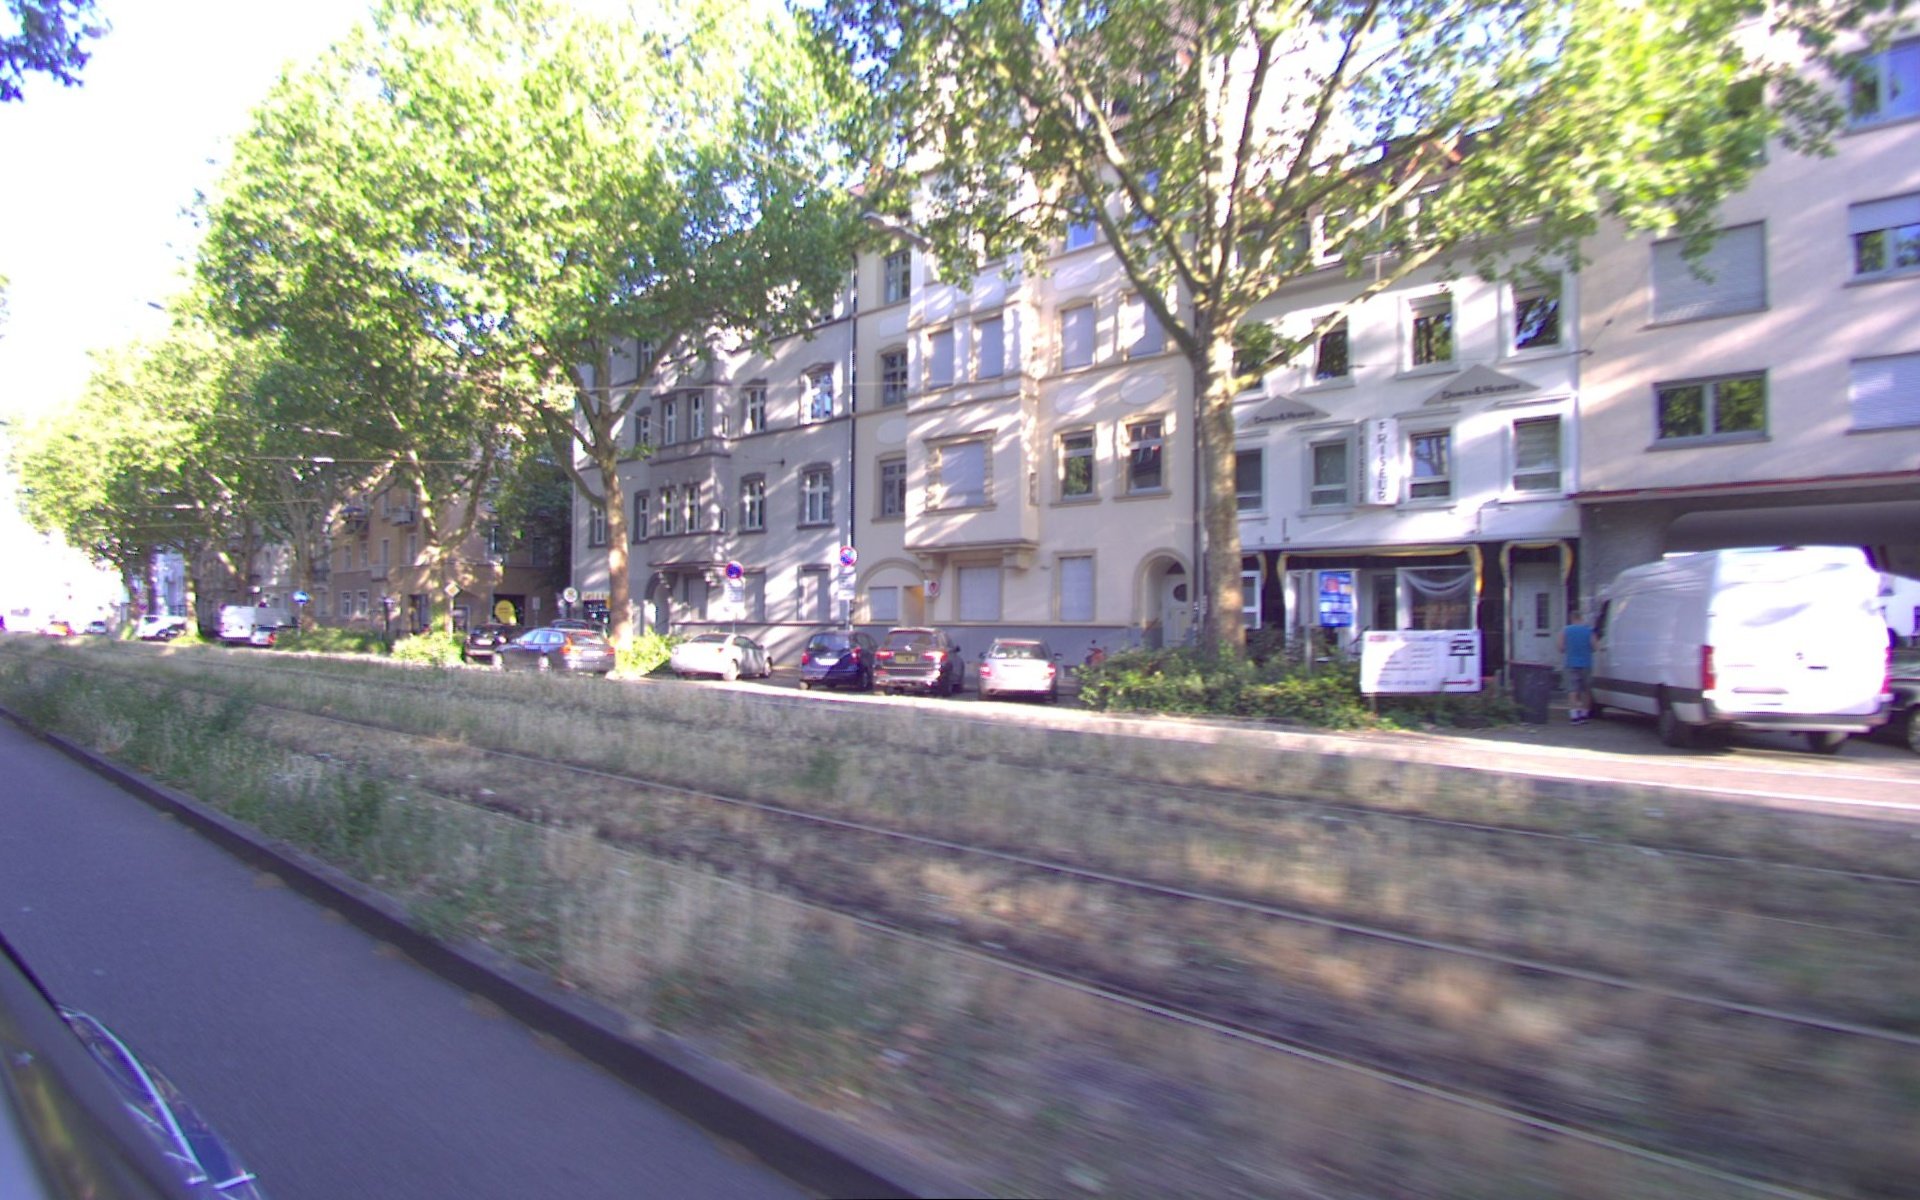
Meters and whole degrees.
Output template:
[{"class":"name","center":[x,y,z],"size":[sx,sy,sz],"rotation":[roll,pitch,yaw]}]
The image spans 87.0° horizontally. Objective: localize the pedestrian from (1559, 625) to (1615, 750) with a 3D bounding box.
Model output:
[{"class":"pedestrian","center":[10.485,1.444,16.946],"size":[0.647,2.029,0.614],"rotation":[-1,-3,22]}]

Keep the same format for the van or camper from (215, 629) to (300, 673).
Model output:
[{"class":"van or camper","center":[-43.117,3.074,62.238],"size":[2.171,2.418,4.362],"rotation":[-1,0,1]}]

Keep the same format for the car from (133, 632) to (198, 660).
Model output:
[{"class":"car","center":[-61.857,3.559,78.879],"size":[1.971,2.029,4.001],"rotation":[-1,0,-1]}]

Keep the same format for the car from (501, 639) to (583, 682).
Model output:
[{"class":"car","center":[-16.172,2.338,39.366],"size":[1.635,1.566,4.001],"rotation":[-1,-3,-2]}]

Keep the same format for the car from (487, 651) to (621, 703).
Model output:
[{"class":"car","center":[-12.106,2.264,30.087],"size":[4.481,1.400,1.801],"rotation":[-2,-5,41]}]

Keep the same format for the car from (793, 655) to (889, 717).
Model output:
[{"class":"car","center":[-3.154,2.309,27.668],"size":[1.803,1.545,3.992],"rotation":[0,-4,6]}]

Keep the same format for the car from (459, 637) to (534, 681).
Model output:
[{"class":"car","center":[-18.730,2.372,41.044],"size":[1.703,1.666,4.007],"rotation":[0,-3,-9]}]

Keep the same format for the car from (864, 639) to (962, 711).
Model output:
[{"class":"car","center":[-1.065,1.843,25.022],"size":[1.912,1.605,4.154],"rotation":[0,-4,5]}]

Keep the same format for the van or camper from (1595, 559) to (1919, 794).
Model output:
[{"class":"van or camper","center":[11.152,0.985,14.588],"size":[2.163,2.666,5.926],"rotation":[-1,-2,21]}]

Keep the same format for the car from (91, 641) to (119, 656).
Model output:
[{"class":"car","center":[-95.355,5.389,112.861],"size":[4.001,1.431,1.971],"rotation":[-1,-1,44]}]

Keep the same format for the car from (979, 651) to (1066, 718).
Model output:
[{"class":"car","center":[1.421,1.859,22.869],"size":[1.779,1.368,4.001],"rotation":[0,-3,4]}]

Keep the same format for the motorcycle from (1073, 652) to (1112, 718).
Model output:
[{"class":"motorcycle","center":[3.417,2.159,26.324],"size":[0.861,1.492,3.125],"rotation":[-1,-1,5]}]

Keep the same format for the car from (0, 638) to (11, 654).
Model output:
[{"class":"car","center":[-96.594,4.663,101.430],"size":[1.969,1.497,4.006],"rotation":[-1,-1,-40]}]

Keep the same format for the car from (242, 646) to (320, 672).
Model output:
[{"class":"car","center":[-40.836,3.554,60.984],"size":[1.710,1.256,3.991],"rotation":[-1,1,7]}]

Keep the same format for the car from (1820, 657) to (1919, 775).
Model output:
[{"class":"car","center":[13.572,1.526,13.392],"size":[1.985,1.502,3.973],"rotation":[-1,-3,20]}]

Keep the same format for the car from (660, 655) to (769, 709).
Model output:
[{"class":"car","center":[-7.158,2.376,29.918],"size":[1.806,1.400,3.668],"rotation":[0,-2,10]}]

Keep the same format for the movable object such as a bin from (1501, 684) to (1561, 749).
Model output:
[{"class":"movable object such as a bin","center":[9.797,1.989,17.398],"size":[0.865,1.030,0.734],"rotation":[-1,-3,29]}]
